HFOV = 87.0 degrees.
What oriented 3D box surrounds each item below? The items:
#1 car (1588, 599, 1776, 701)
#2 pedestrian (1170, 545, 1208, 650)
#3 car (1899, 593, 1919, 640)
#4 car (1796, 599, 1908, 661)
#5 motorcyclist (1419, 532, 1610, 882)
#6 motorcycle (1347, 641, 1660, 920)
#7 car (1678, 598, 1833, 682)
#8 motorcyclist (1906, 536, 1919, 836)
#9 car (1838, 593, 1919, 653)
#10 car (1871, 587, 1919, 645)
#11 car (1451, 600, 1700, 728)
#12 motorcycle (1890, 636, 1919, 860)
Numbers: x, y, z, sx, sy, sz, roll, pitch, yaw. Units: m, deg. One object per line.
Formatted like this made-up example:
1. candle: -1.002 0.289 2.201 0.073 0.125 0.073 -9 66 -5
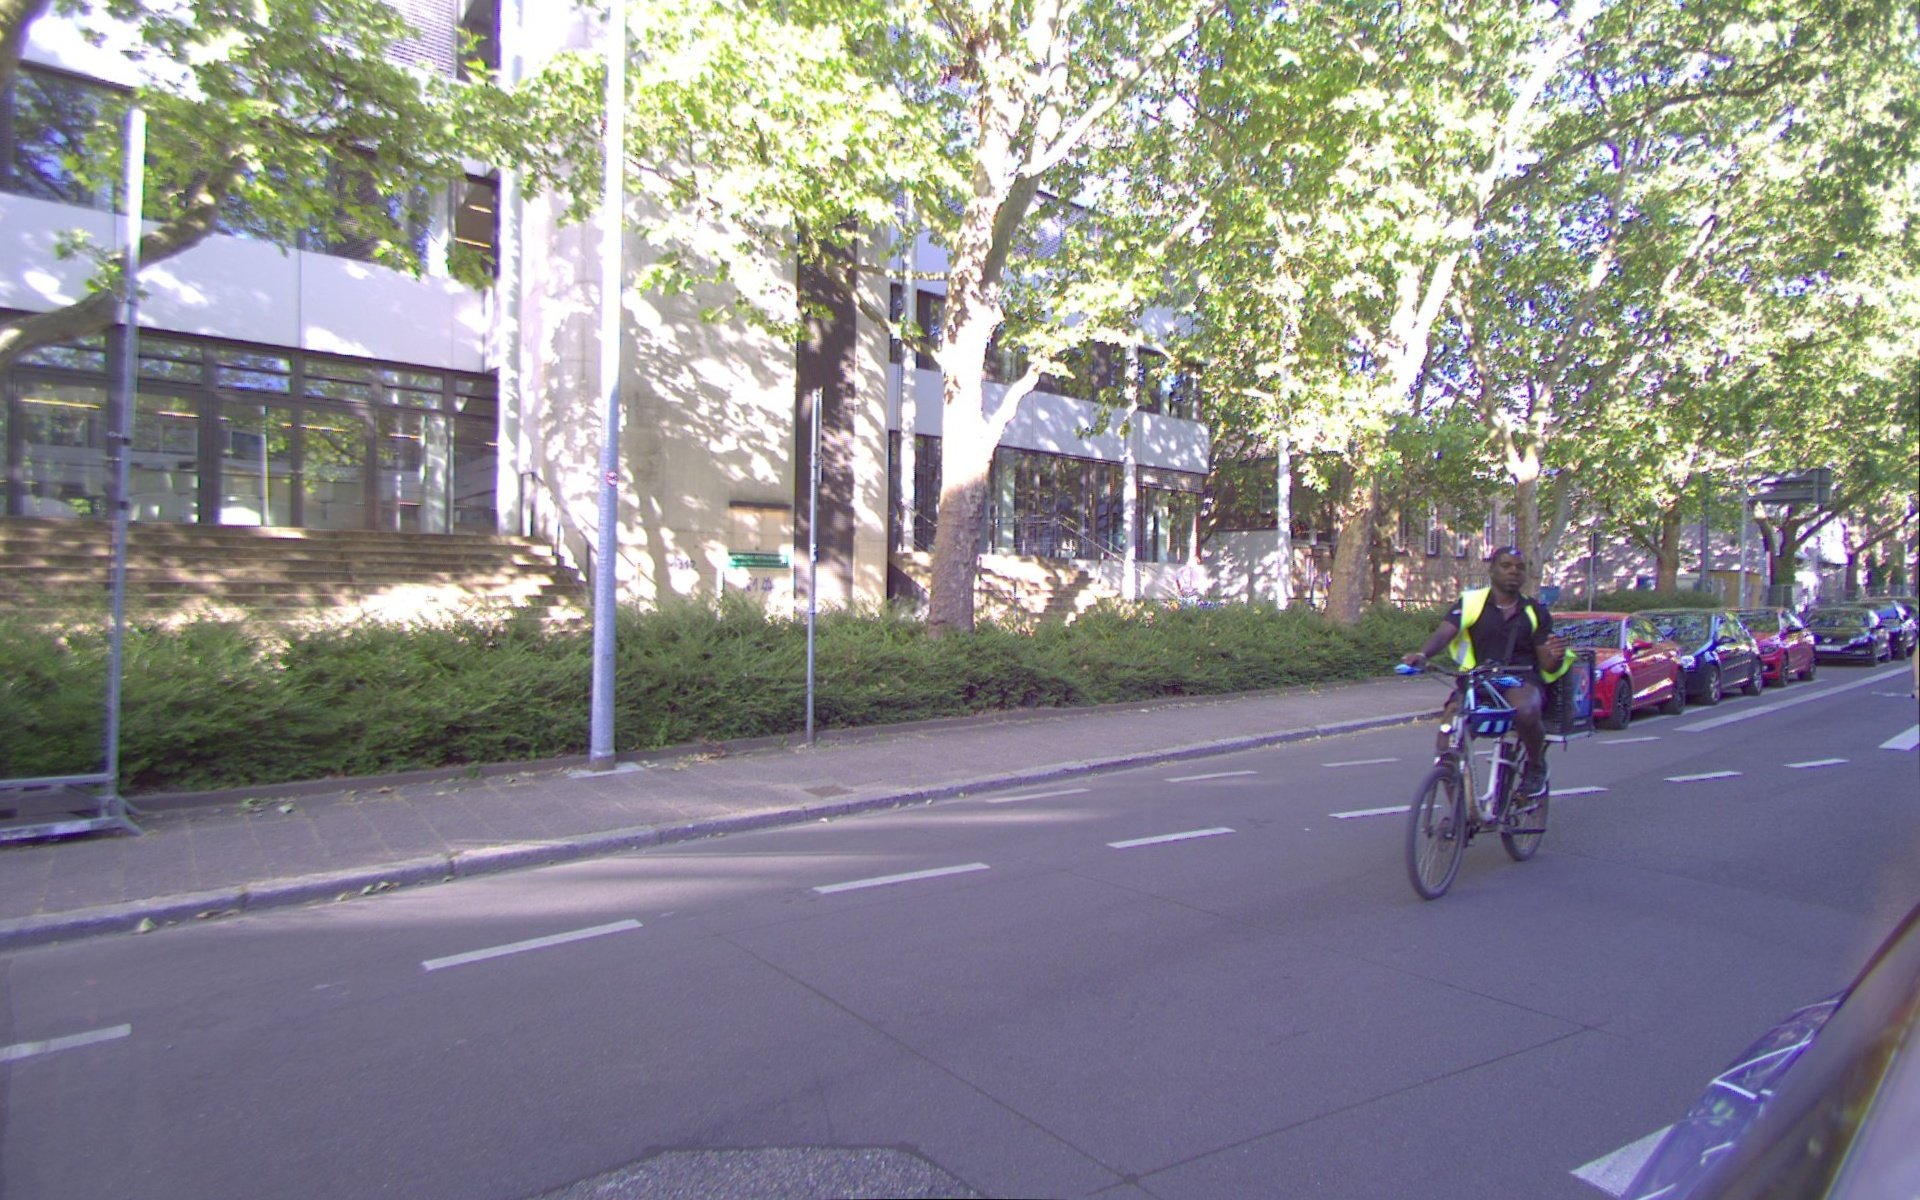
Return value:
1. car: 11.860 0.728 16.553 3.632 1.436 1.668 -1 0 -40
2. pedestrian: 4.545 -0.054 20.098 0.549 2.039 0.555 0 0 38
3. car: 35.540 0.569 36.792 4.497 1.633 1.632 -1 0 -41
4. car: 22.952 0.709 25.995 3.855 1.441 1.691 -1 0 -41
5. motorcyclist: 3.079 0.535 5.625 0.738 1.765 0.718 0 0 -41
6. motorcycle: 3.064 0.855 5.584 2.197 1.146 0.798 -1 0 -41
7. car: 15.748 0.706 19.980 3.854 1.467 1.691 -1 0 -40
8. motorcyclist: 6.361 0.517 6.126 0.897 1.811 0.832 0 0 -41
9. car: 26.638 0.601 29.052 4.158 1.598 1.632 -1 0 -41
10. car: 31.176 0.470 33.021 4.497 1.814 1.632 -1 0 -41
11. car: 8.305 0.735 13.524 3.931 1.409 1.792 -1 1 -42
12. motorcycle: 6.202 0.831 5.957 1.896 1.183 0.864 -1 0 -41
